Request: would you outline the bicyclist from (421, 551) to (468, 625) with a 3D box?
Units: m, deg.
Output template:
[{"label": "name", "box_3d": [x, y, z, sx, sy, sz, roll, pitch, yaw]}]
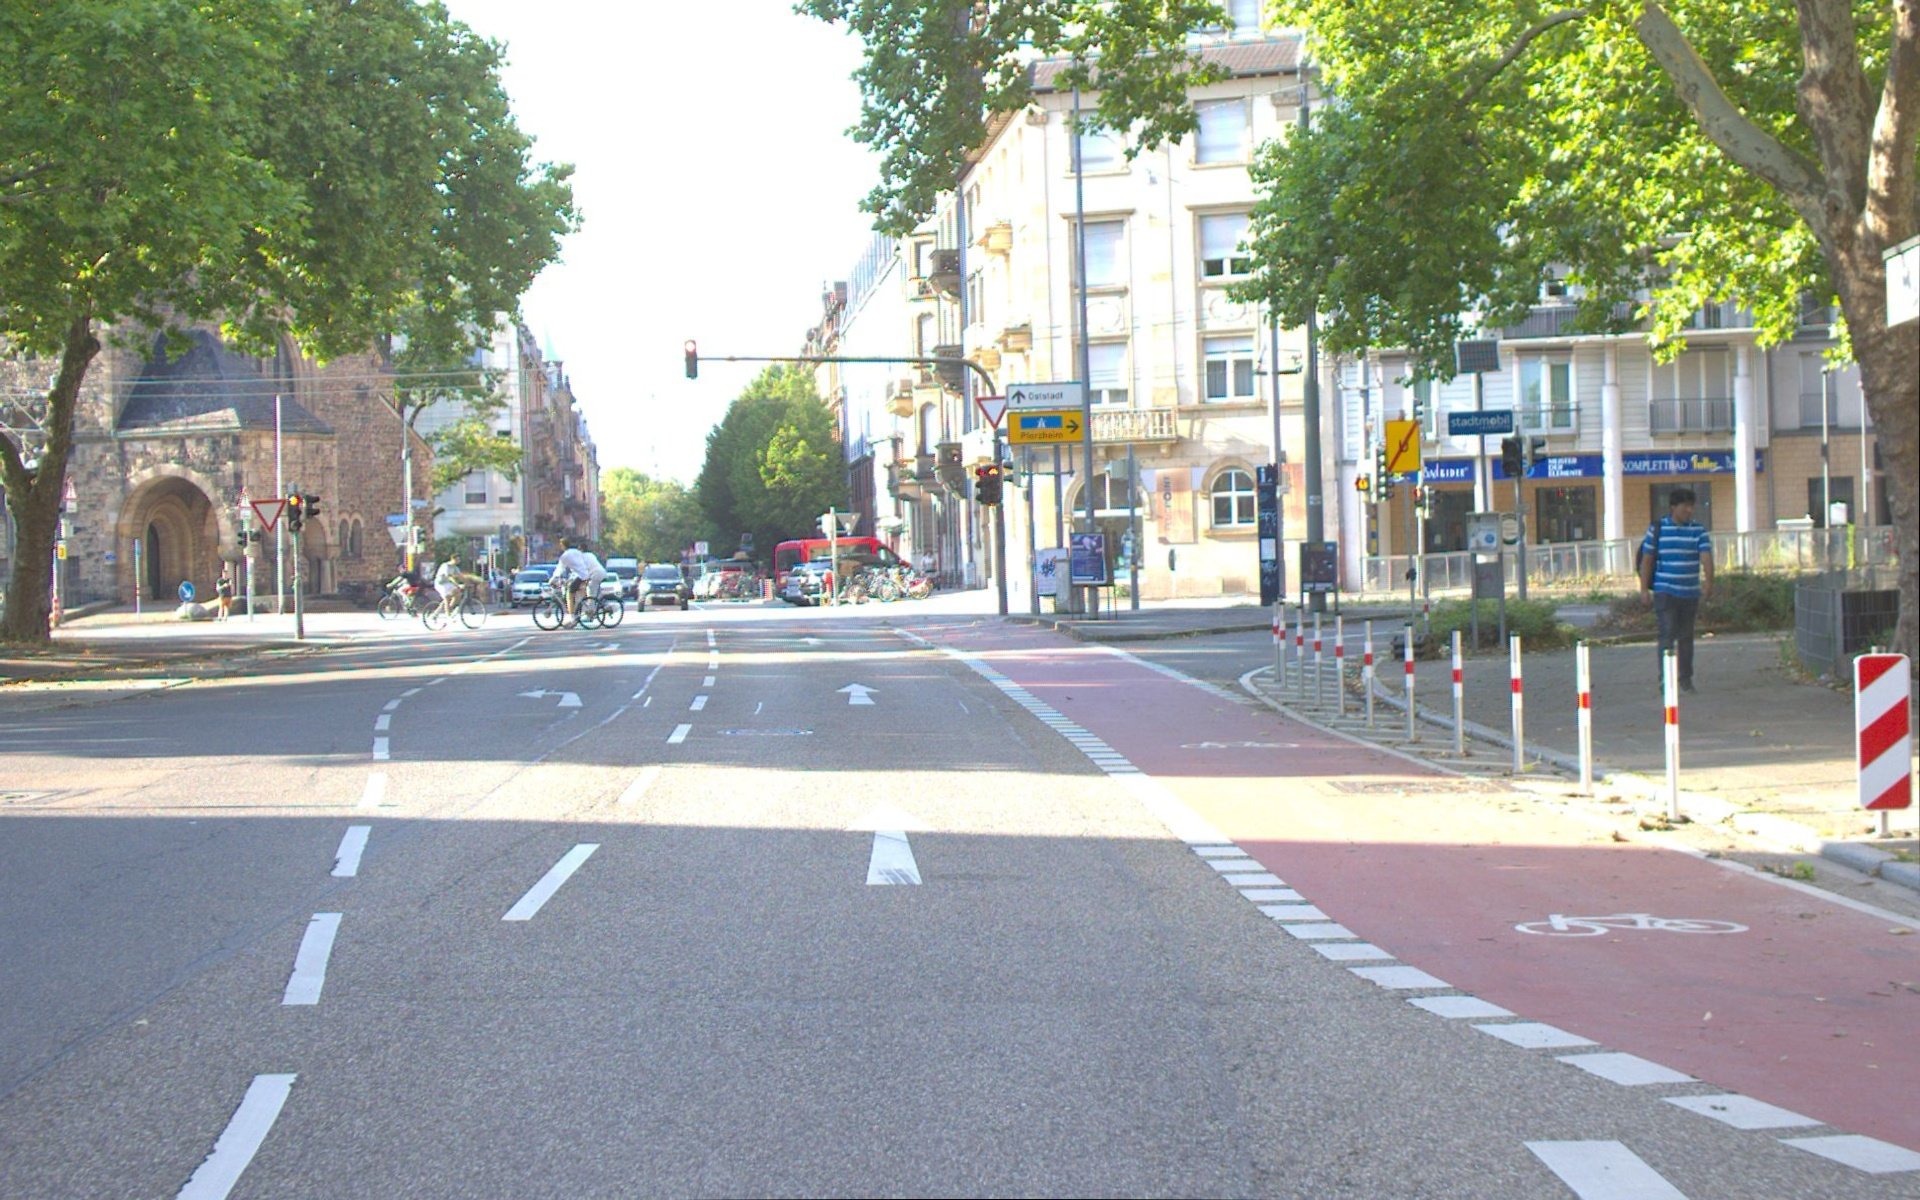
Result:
[{"label": "bicyclist", "box_3d": [-11.710, -0.267, 78.078, 0.802, 1.651, 0.934, 1, 0, 8]}]

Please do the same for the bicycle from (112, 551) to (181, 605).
[{"label": "bicycle", "box_3d": [-27.254, -0.720, 115.272, 1.286, 1.744, 4.000, 1, 0, 1]}]

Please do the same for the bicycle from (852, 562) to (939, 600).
[{"label": "bicycle", "box_3d": [-2.136, -0.625, 113.569, 2.802, 1.199, 0.510, 1, 0, -7]}]

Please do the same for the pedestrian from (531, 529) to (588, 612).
[{"label": "pedestrian", "box_3d": [-8.268, -0.601, 71.009, 0.992, 1.702, 0.628, 1, 0, 18]}]

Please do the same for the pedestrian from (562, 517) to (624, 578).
[{"label": "pedestrian", "box_3d": [-7.710, -1.099, 72.259, 1.049, 1.273, 0.791, 1, 0, 20]}]

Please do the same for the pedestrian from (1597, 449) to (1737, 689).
[{"label": "pedestrian", "box_3d": [6.197, -0.265, 30.179, 0.827, 2.007, 1.153, -4, 0, -1]}]

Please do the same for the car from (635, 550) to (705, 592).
[{"label": "car", "box_3d": [-10.334, -1.014, 122.709, 1.587, 1.457, 3.181, 1, 0, 13]}]

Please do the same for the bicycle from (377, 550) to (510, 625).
[{"label": "bicycle", "box_3d": [-11.727, -0.281, 78.041, 2.842, 1.650, 0.830, 1, 0, 8]}]

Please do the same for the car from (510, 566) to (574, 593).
[{"label": "car", "box_3d": [-18.045, -0.886, 148.570, 1.595, 1.140, 3.381, 1, 0, 14]}]

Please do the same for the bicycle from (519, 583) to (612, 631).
[{"label": "bicycle", "box_3d": [-8.149, 0.138, 70.982, 1.785, 0.978, 0.656, 1, 0, 17]}]

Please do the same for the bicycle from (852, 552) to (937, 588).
[{"label": "bicycle", "box_3d": [-2.186, -1.004, 115.174, 2.802, 1.199, 0.517, 1, 0, -7]}]

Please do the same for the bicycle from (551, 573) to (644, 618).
[{"label": "bicycle", "box_3d": [-7.619, -0.090, 72.254, 1.783, 0.892, 0.750, -1, 1, 20]}]

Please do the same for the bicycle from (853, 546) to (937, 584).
[{"label": "bicycle", "box_3d": [-2.196, -1.181, 115.906, 2.802, 1.199, 0.510, 1, 3, -7]}]

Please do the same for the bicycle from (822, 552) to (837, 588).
[{"label": "bicycle", "box_3d": [-4.422, -1.007, 116.655, 0.508, 1.199, 2.092, 1, 0, -2]}]

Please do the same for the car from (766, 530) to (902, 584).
[{"label": "car", "box_3d": [-4.880, -1.659, 133.754, 4.988, 2.007, 2.166, 1, 0, -39]}]
